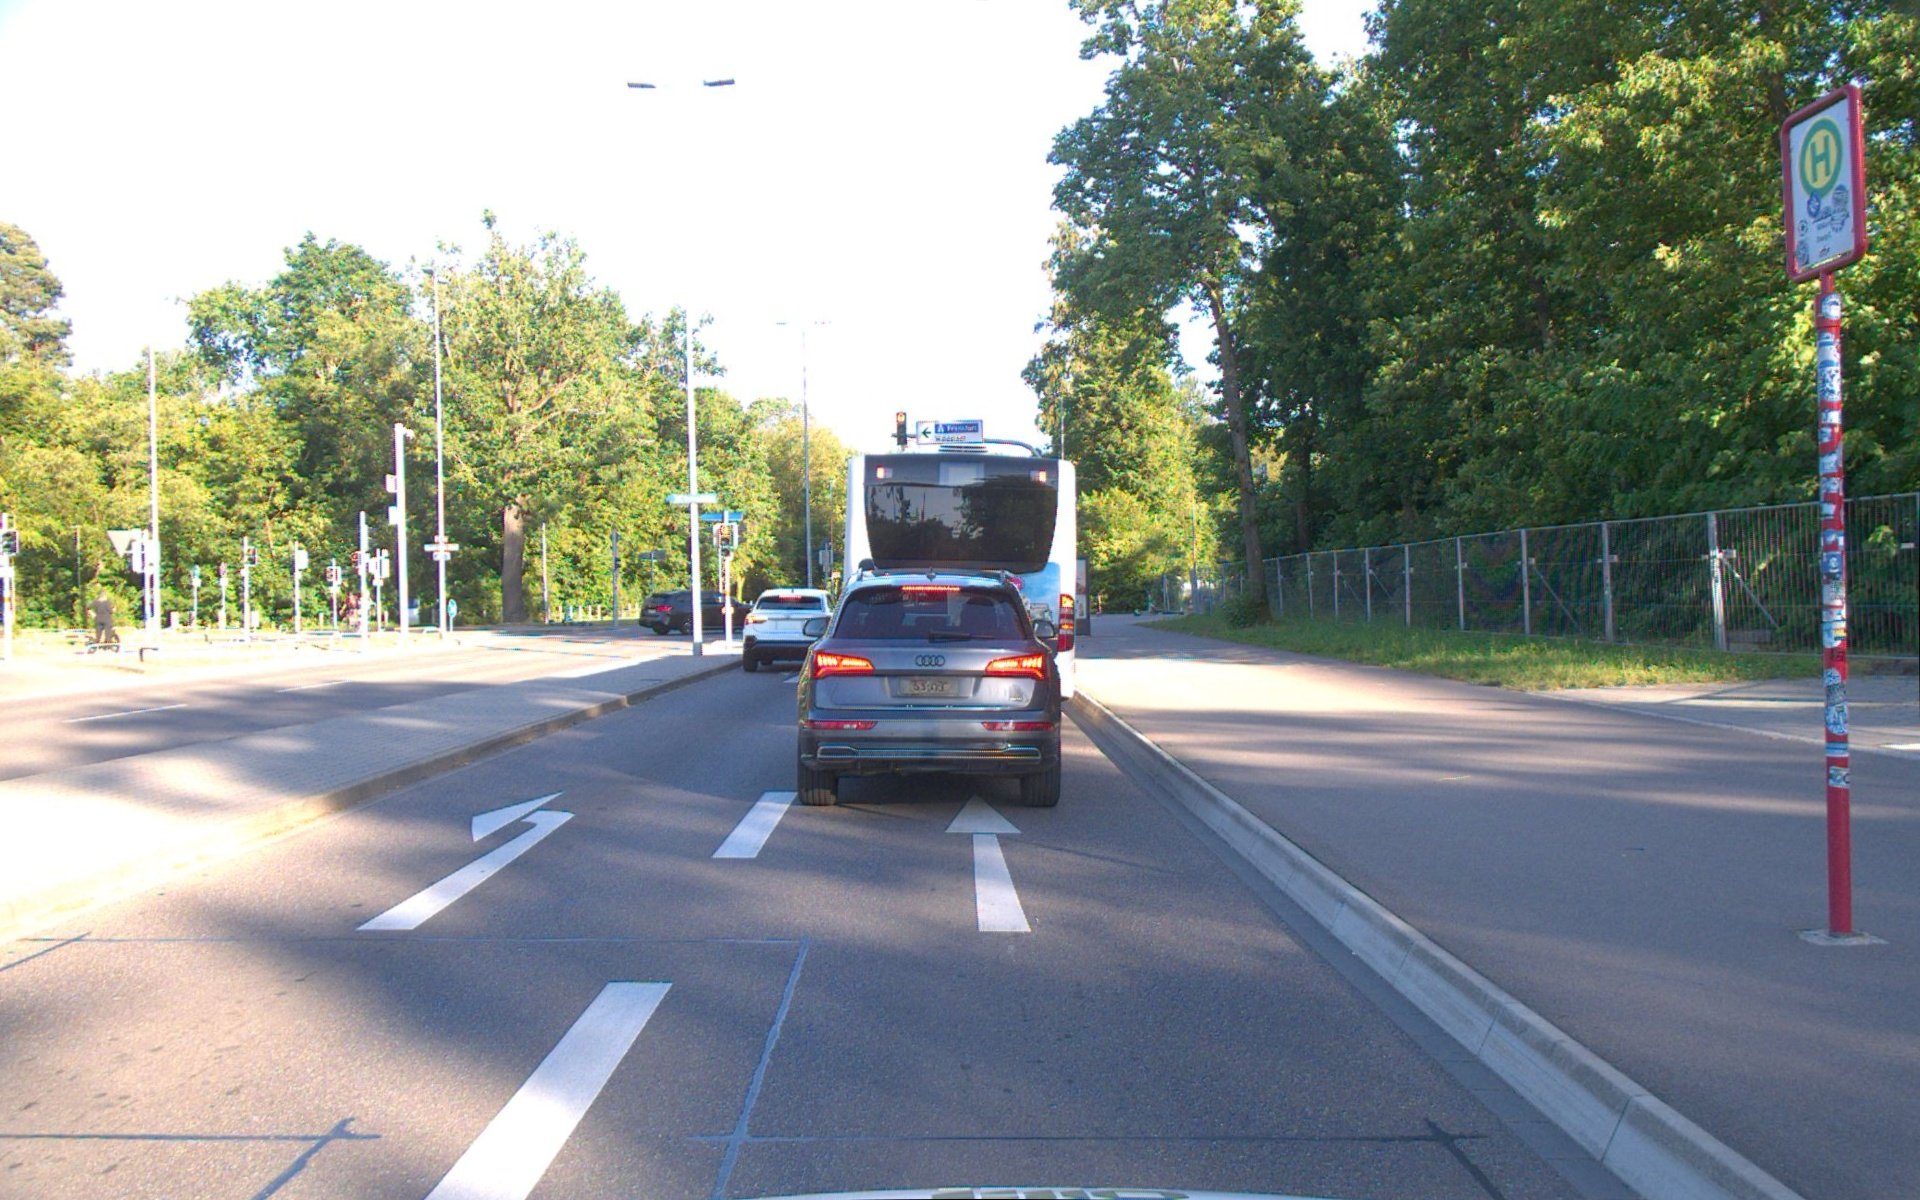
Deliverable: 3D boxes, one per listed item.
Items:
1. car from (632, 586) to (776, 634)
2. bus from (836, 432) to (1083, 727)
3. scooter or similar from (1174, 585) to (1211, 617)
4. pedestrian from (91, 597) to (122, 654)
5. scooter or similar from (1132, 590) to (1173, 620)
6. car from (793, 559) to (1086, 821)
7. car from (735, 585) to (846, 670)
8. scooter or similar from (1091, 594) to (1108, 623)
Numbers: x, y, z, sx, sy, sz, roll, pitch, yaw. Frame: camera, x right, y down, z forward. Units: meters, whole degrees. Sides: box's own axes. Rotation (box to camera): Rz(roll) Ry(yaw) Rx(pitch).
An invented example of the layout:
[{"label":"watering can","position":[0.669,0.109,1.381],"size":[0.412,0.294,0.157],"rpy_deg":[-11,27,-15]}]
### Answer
[{"label":"car","position":[-8.995,0.348,58.339],"size":[4.749,1.524,1.969],"rpy_deg":[-2,0,-43]},{"label":"bus","position":[-0.065,-0.196,21.799],"size":[2.542,3.041,9.324],"rpy_deg":[0,0,-1]},{"label":"scooter or similar","position":[11.858,0.080,84.484],"size":[0.535,1.594,1.993],"rpy_deg":[-2,0,-40]},{"label":"pedestrian","position":[-24.163,0.719,46.815],"size":[0.643,1.587,0.531],"rpy_deg":[-1,0,-43]},{"label":"scooter or similar","position":[9.687,0.251,83.163],"size":[1.991,1.469,0.601],"rpy_deg":[-2,0,-26]},{"label":"car","position":[-0.156,0.569,12.588],"size":[1.860,1.660,3.999],"rpy_deg":[1,0,-1]},{"label":"car","position":[-3.261,0.494,32.401],"size":[1.799,1.545,3.999],"rpy_deg":[-1,0,-1]},{"label":"scooter or similar","position":[7.216,0.429,85.719],"size":[0.498,1.469,2.020],"rpy_deg":[-2,0,-6]}]
